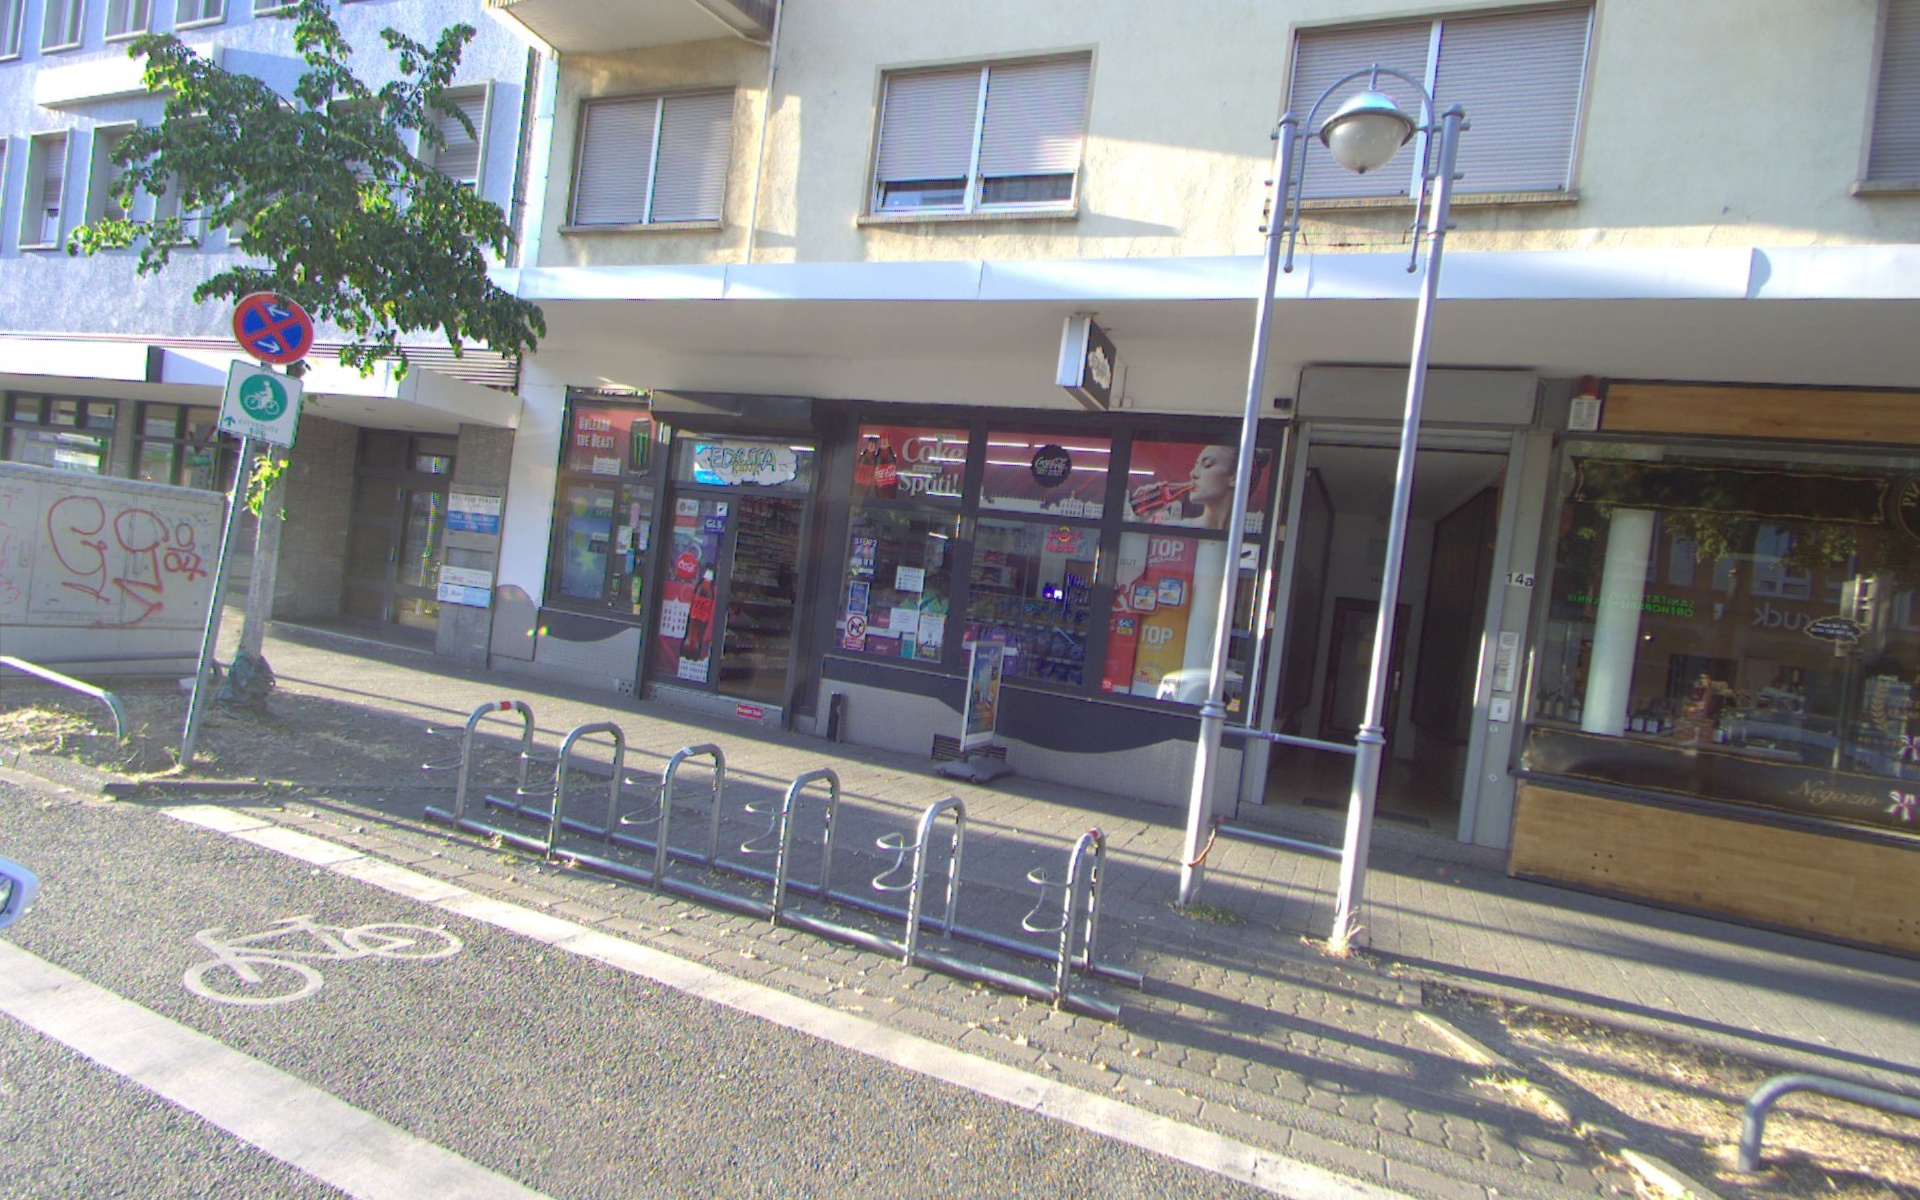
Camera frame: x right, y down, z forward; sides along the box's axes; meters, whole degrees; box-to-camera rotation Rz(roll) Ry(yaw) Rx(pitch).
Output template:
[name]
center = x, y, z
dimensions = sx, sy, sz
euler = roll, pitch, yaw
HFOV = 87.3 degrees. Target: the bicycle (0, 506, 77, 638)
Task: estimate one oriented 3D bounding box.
[bicycle]
center = -9.124, -0.285, 9.103
dimensions = 0.484, 1.208, 1.663
euler = 8, 0, 11
